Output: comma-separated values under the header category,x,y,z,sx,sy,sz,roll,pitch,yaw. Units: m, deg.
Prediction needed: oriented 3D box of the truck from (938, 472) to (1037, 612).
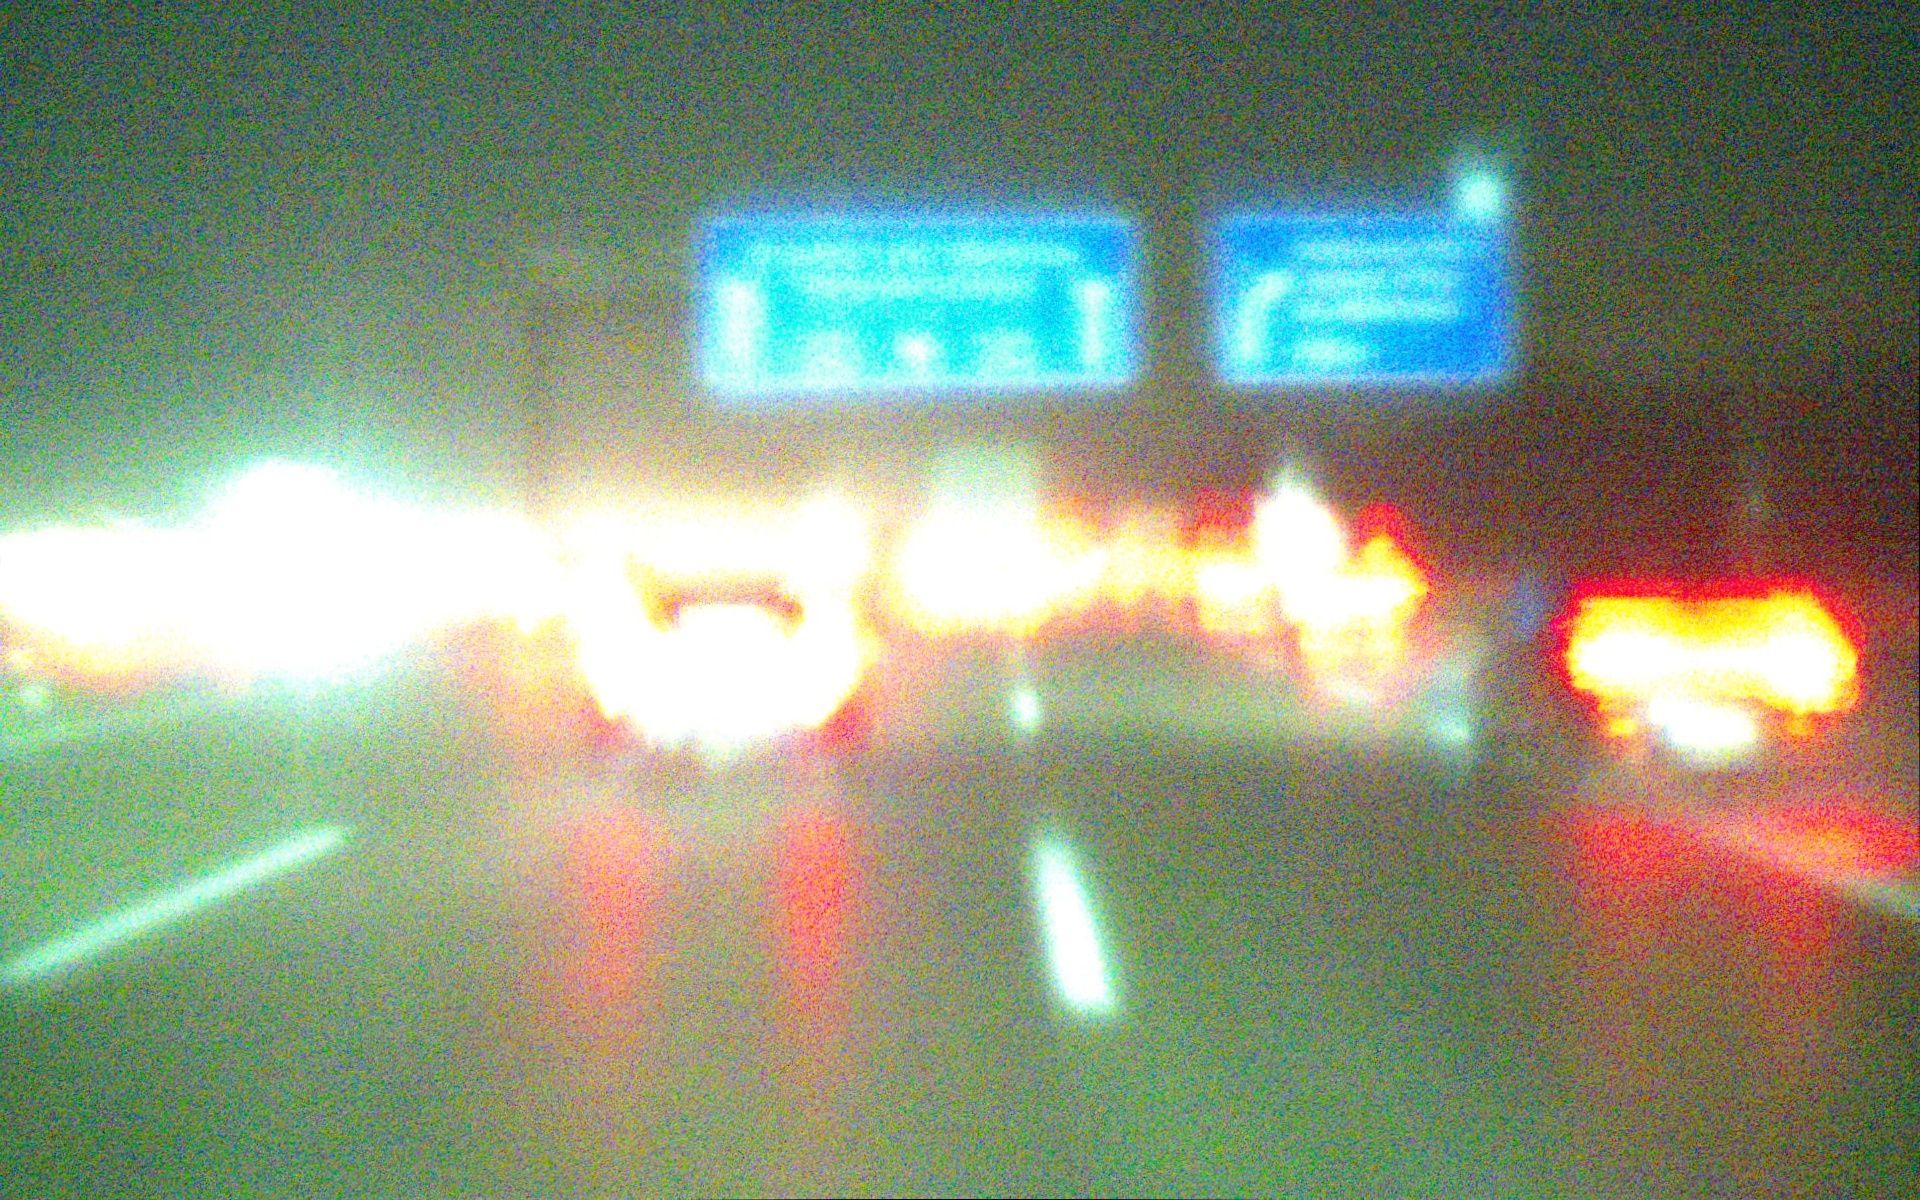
category,x,y,z,sx,sy,sz,roll,pitch,yaw
truck,0.694,-1.323,79.987,1.994,3.032,6.465,-3,0,2

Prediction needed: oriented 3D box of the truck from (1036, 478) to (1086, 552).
category,x,y,z,sx,sy,sz,roll,pitch,yaw
truck,4.482,-3.720,151.909,1.994,3.032,6.465,-3,0,2

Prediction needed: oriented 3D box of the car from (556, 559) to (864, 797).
category,x,y,z,sx,sy,sz,roll,pitch,yaw
car,-1.645,0.473,23.878,1.802,1.482,4.000,0,1,1

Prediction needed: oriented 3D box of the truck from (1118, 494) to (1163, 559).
category,x,y,z,sx,sy,sz,roll,pitch,yaw
truck,8.873,-3.587,169.387,1.994,3.032,6.465,-3,0,2

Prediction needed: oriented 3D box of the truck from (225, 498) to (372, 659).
category,x,y,z,sx,sy,sz,roll,pitch,yaw
truck,-21.055,-0.703,109.811,2.923,4.833,7.577,-3,0,1

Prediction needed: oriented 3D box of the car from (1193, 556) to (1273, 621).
category,x,y,z,sx,sy,sz,roll,pitch,yaw
car,7.022,-0.326,88.760,1.863,1.612,4.000,1,1,2

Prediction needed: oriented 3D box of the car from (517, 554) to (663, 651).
category,x,y,z,sx,sy,sz,roll,pitch,yaw
car,-5.187,0.023,48.578,1.662,1.232,3.761,-3,0,-1

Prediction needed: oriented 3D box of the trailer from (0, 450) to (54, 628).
category,x,y,z,sx,sy,sz,roll,pitch,yaw
trailer,-21.348,-1.205,69.727,2.696,3.736,12.021,-3,0,0

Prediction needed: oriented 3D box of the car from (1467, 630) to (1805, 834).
category,x,y,z,sx,sy,sz,roll,pitch,yaw
car,4.632,0.877,23.946,1.580,1.242,3.069,1,1,-3

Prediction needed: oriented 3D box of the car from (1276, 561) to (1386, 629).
category,x,y,z,sx,sy,sz,roll,pitch,yaw
car,7.045,-0.110,65.528,1.580,1.242,3.069,1,1,-3
